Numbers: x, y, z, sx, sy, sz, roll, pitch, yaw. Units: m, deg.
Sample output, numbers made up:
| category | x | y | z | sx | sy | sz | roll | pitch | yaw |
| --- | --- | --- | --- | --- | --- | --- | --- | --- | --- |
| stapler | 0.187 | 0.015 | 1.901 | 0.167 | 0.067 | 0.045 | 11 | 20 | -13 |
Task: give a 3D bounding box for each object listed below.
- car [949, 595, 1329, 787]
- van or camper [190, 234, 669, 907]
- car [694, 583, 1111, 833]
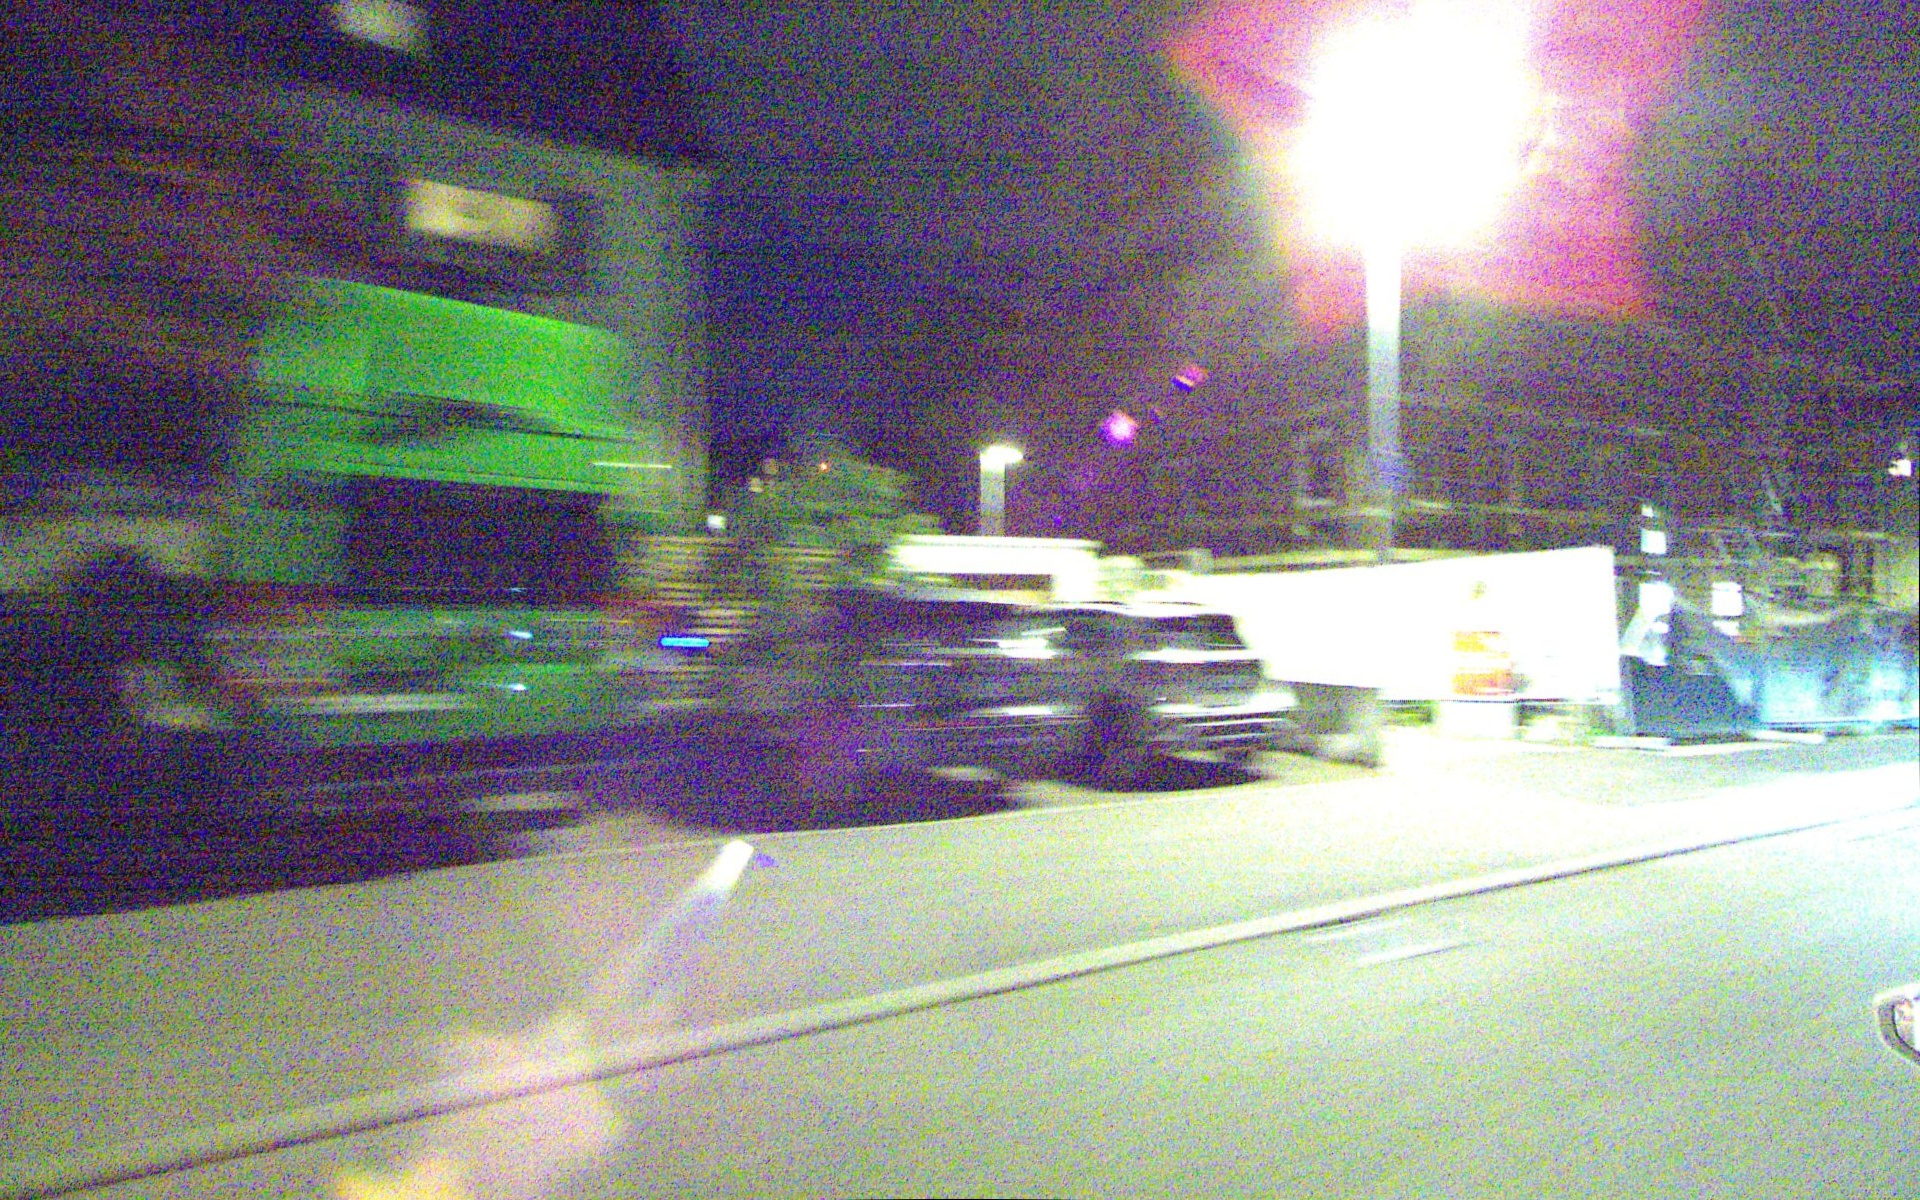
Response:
| category | x | y | z | sx | sy | sz | roll | pitch | yaw |
| --- | --- | --- | --- | --- | --- | --- | --- | --- | --- |
| car | 1.627 | 0.747 | 10.379 | 1.904 | 1.576 | 3.793 | 0 | 0 | -30 |
| van or camper | -4.274 | -0.112 | 7.464 | 2.114 | 3.152 | 5.355 | 1 | -1 | -39 |
| car | -0.811 | 0.762 | 9.015 | 2.040 | 1.634 | 4.398 | 2 | -2 | -29 |
